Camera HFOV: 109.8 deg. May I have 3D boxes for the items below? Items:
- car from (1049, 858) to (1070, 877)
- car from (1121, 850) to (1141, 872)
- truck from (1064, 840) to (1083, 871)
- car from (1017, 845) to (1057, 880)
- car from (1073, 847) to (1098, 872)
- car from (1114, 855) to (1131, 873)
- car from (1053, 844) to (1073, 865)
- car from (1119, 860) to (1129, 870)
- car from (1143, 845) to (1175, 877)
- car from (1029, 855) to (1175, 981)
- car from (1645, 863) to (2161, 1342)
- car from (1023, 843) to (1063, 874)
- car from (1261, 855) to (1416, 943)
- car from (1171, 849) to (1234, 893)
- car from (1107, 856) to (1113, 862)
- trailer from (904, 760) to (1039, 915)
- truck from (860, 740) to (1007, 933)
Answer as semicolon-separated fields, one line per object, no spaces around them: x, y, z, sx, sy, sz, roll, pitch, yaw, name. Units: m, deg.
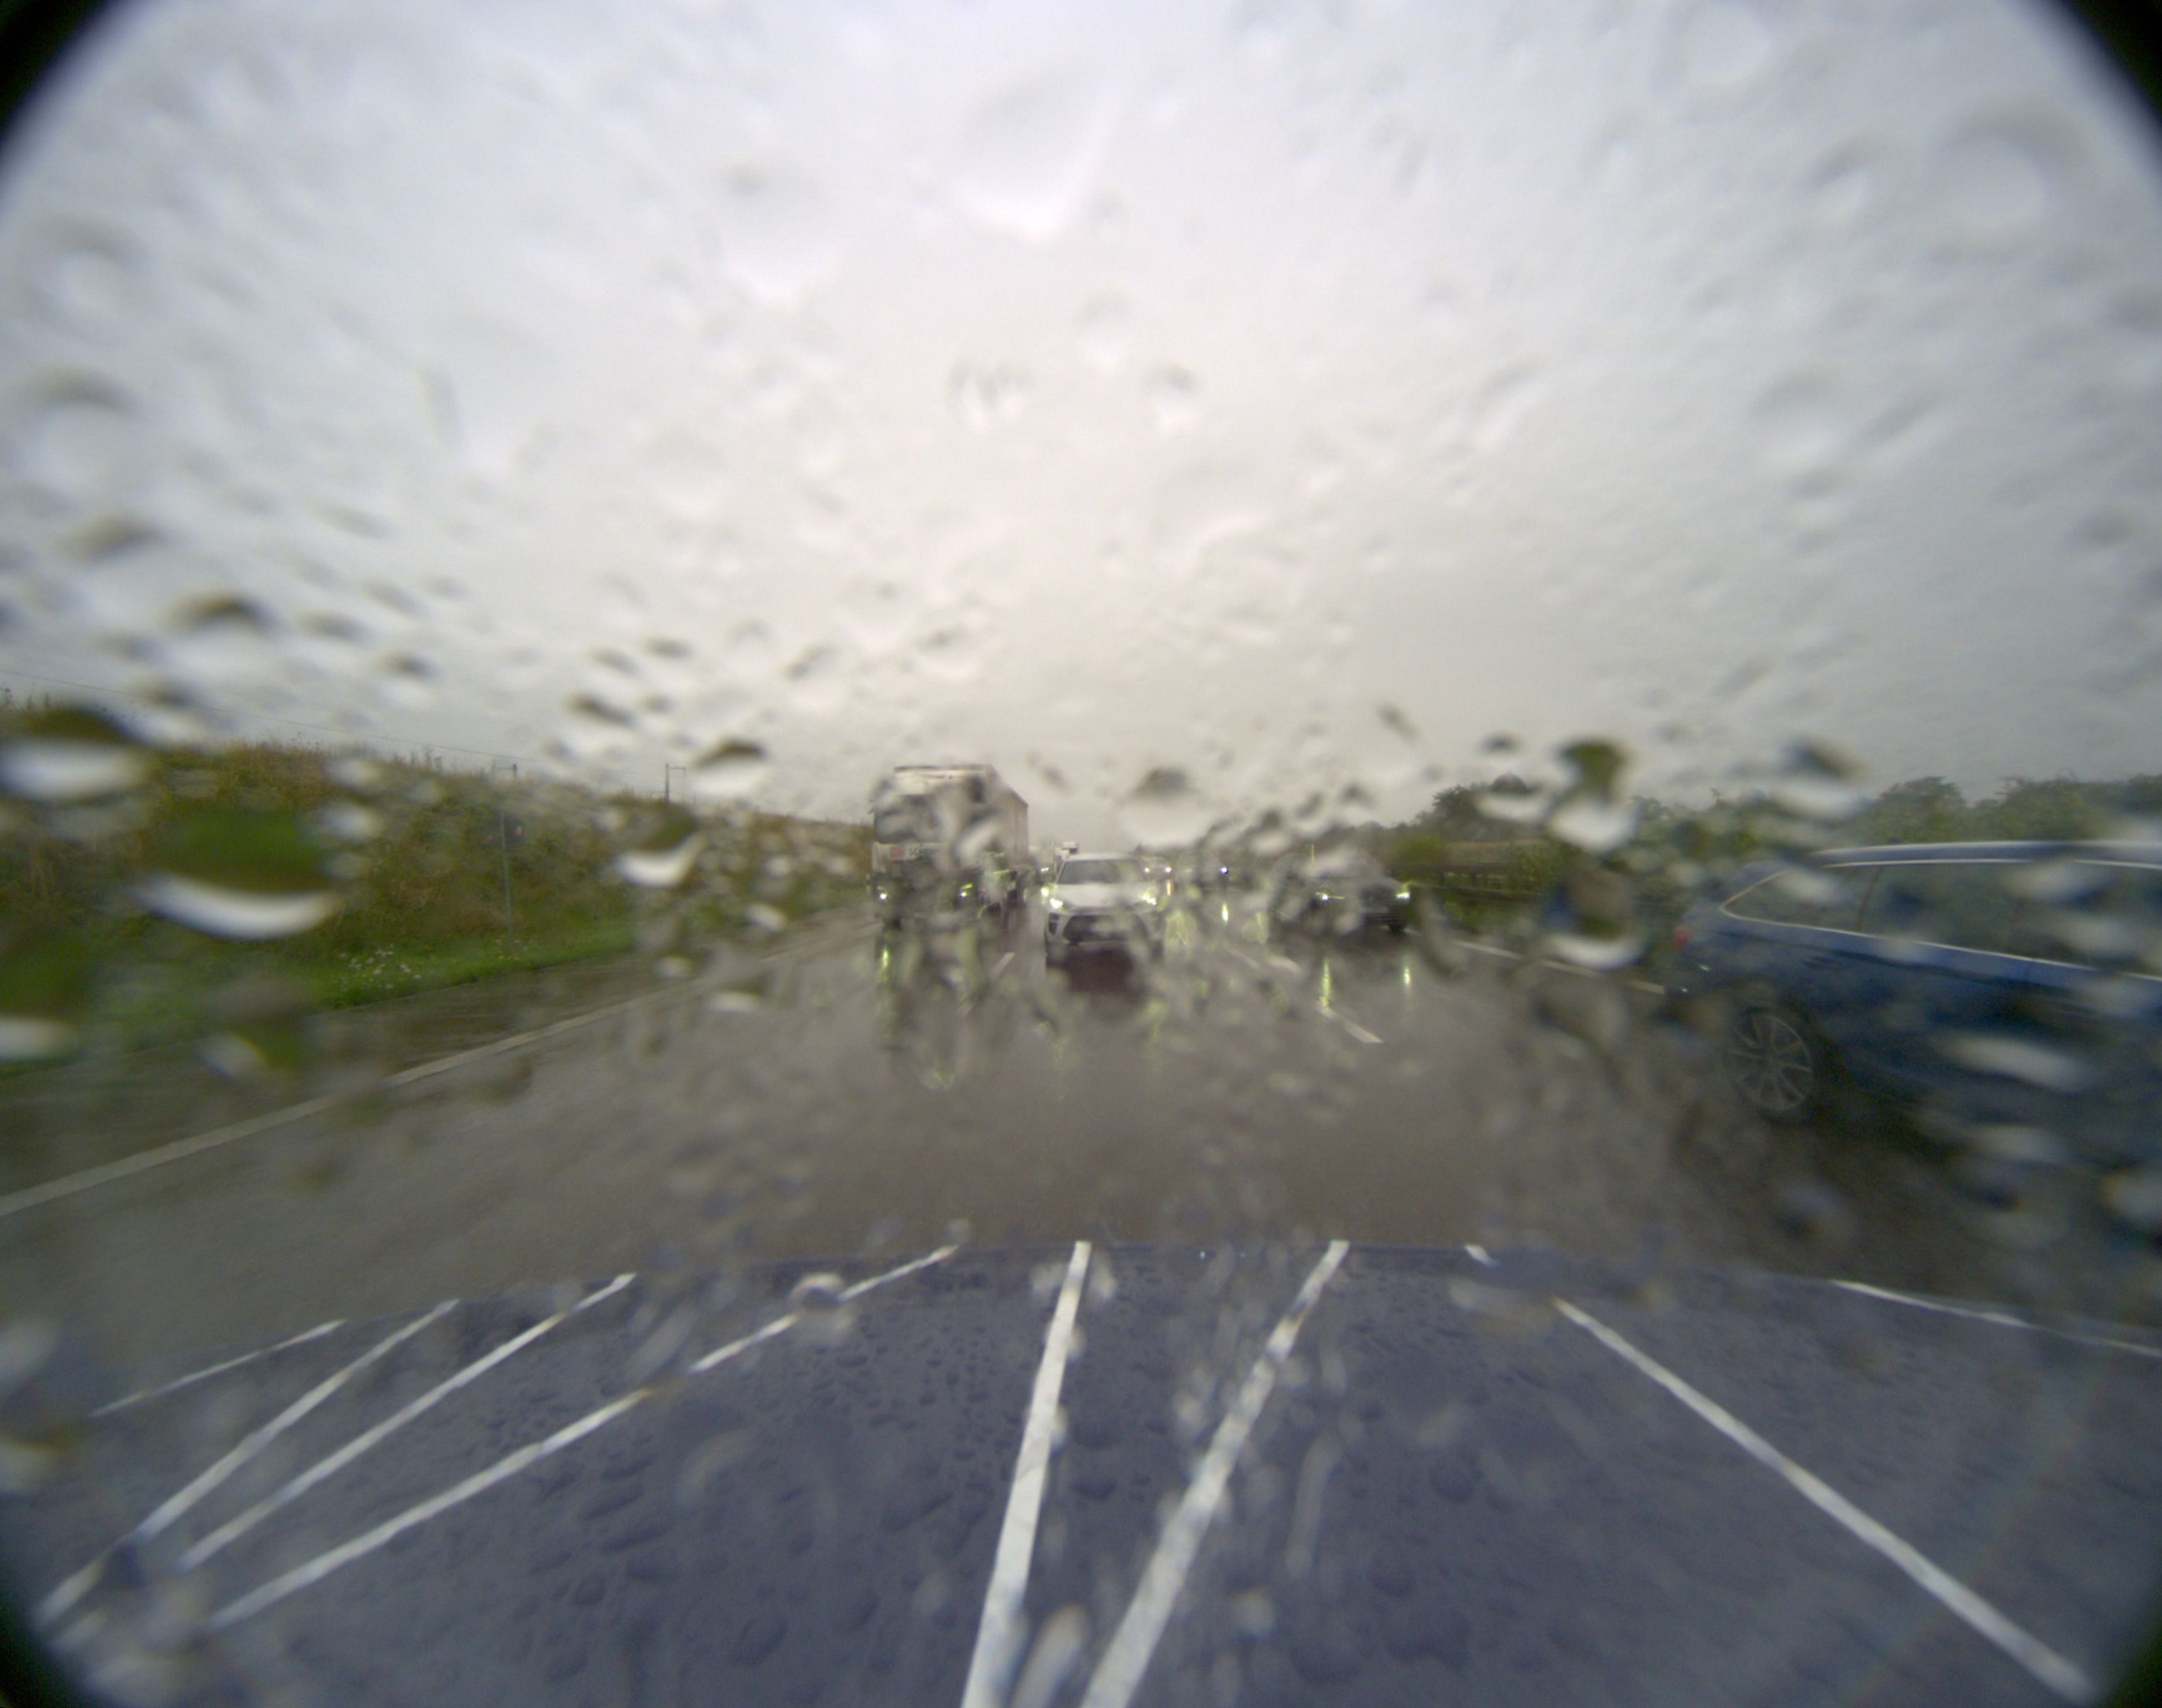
-2.174;1.375;79.102;1.998;1.805;4.000;-2;0;1;car
4.799;0.670;73.395;1.737;2.002;4.223;-2;0;1;car
-1.072;0.277;116.413;2.628;4.635;4.290;-2;0;1;truck
-2.685;0.472;47.184;1.946;2.002;4.446;-2;1;3;car
0.427;0.435;63.759;1.998;2.002;4.000;-2;0;2;car
4.731;1.129;86.578;1.737;2.002;4.223;-2;0;1;car
-1.996;0.014;85.066;1.998;2.231;4.000;-2;0;1;car
7.066;1.765;124.447;1.458;1.540;2.804;0;2;1;car
5.045;0.427;49.822;1.888;2.002;4.270;-2;0;4;car
0.305;0.857;12.103;1.893;1.578;4.000;-2;1;1;car
4.373;0.823;2.439;1.790;1.467;4.512;-2;0;1;car
-2.635;0.289;53.576;2.260;2.002;4.269;-2;1;4;car
4.868;0.761;15.026;1.613;1.428;4.370;-2;0;1;car
4.920;0.649;31.372;1.889;1.622;4.269;-2;0;0;car
7.812;1.260;204.299;1.279;1.567;2.848;-2;0;0;car
-3.443;-0.539;28.209;2.633;4.224;14.174;-2;1;1;trailer
-3.545;-0.414;19.556;2.633;4.229;5.042;-2;1;0;truck
